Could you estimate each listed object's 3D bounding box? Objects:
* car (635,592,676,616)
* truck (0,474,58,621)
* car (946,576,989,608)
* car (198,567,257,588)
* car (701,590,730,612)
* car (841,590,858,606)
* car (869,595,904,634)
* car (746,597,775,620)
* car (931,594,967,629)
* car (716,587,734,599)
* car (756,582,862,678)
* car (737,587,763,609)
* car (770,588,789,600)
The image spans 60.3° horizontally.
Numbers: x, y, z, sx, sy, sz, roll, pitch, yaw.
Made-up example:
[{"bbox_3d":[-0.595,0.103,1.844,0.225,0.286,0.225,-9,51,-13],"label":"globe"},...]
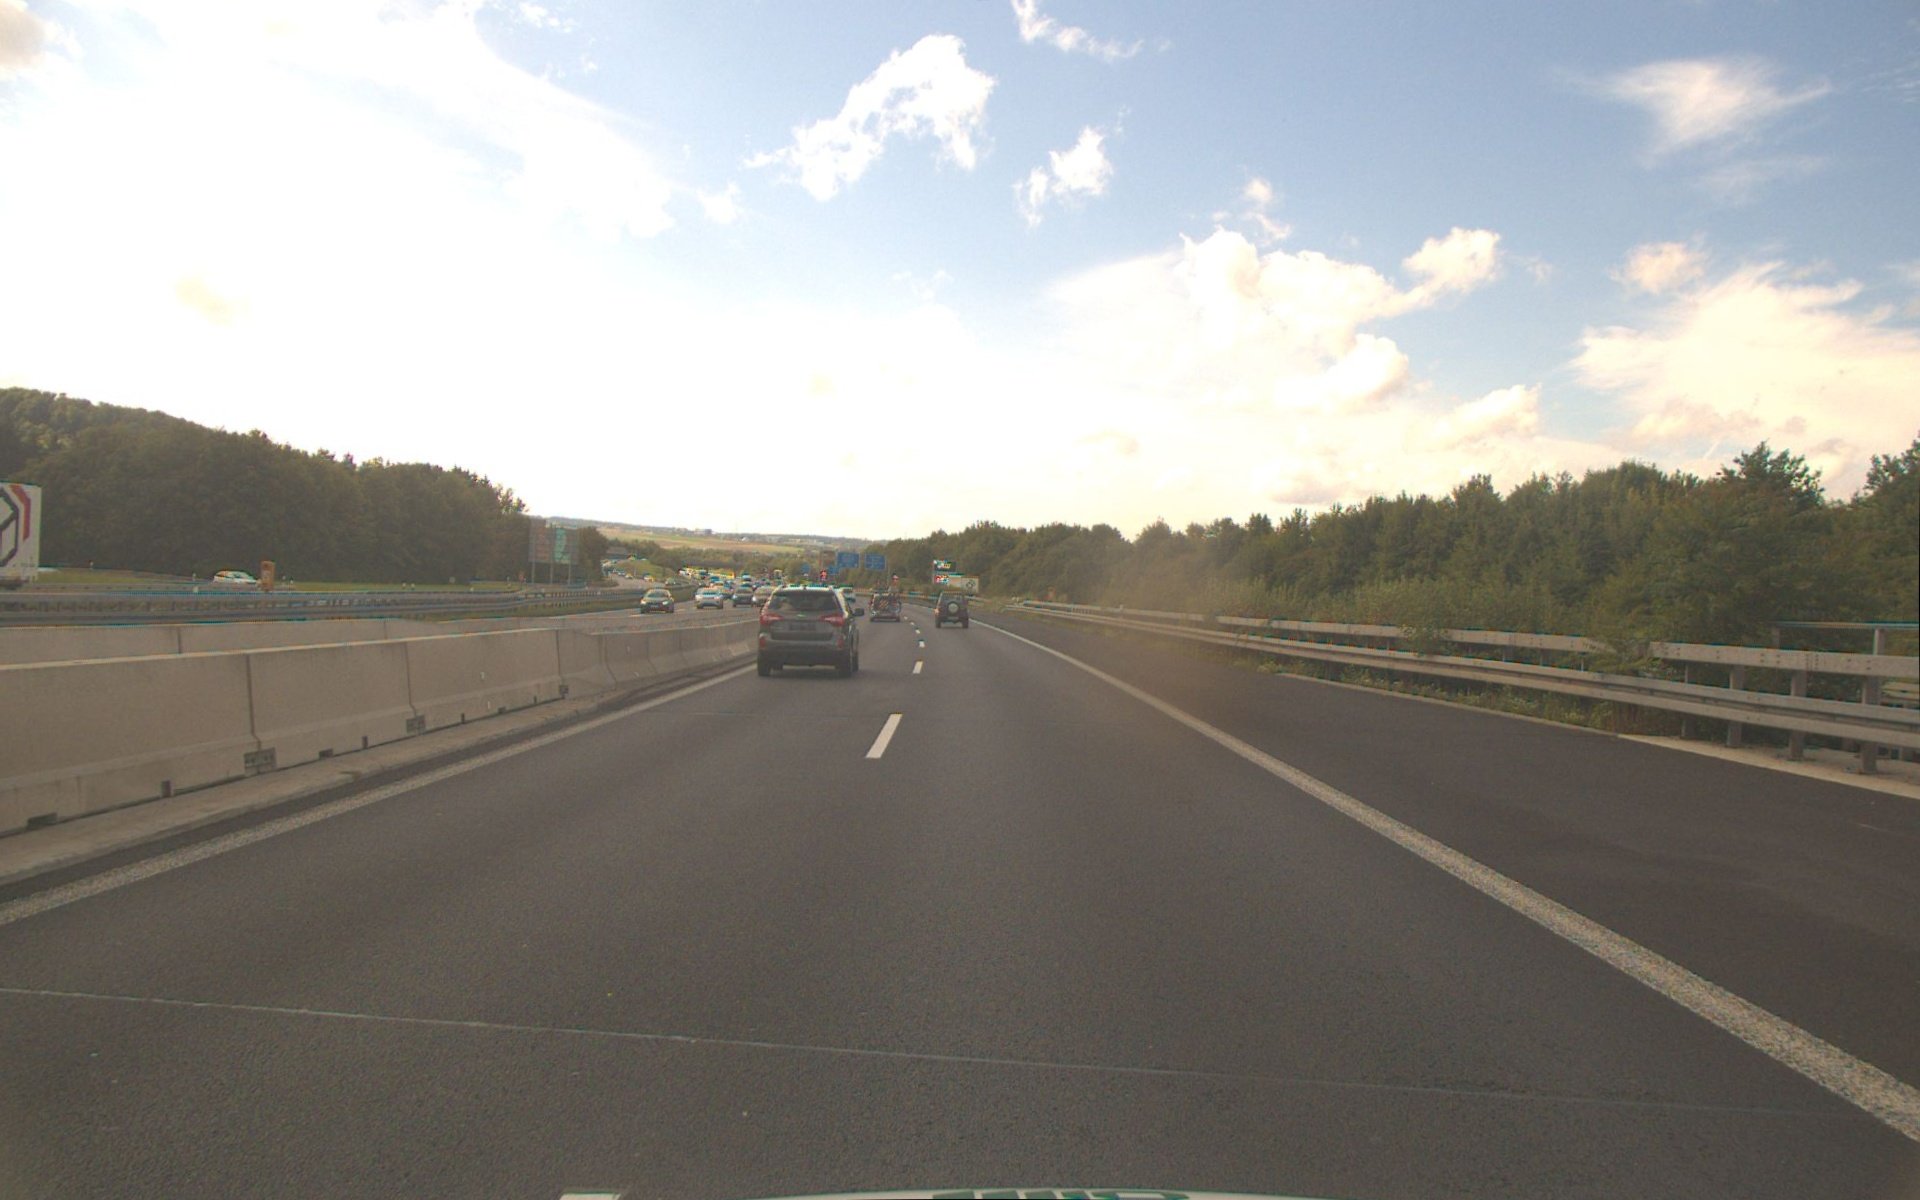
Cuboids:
[{"bbox_3d":[-19.595,0.243,106.648,1.954,1.427,4.810,1,0,-3],"label":"car"},{"bbox_3d":[-27.788,-1.523,43.333,2.844,4.038,10.458,1,-1,-3],"label":"truck"},{"bbox_3d":[1.014,-1.071,240.876,4.640,4.341,11.381,1,-1,-8],"label":"car"},{"bbox_3d":[-55.897,-1.725,126.185,4.525,1.456,1.784,1,0,31],"label":"car"},{"bbox_3d":[-19.030,0.070,128.979,1.849,1.638,4.962,1,0,-4],"label":"car"},{"bbox_3d":[-13.282,-0.243,198.939,1.955,1.713,3.995,1,-1,-5],"label":"car"},{"bbox_3d":[-4.274,0.813,96.400,1.990,2.189,3.998,1,0,-3],"label":"car"},{"bbox_3d":[-15.096,0.629,125.363,1.848,1.733,4.963,1,0,-3],"label":"car"},{"bbox_3d":[-0.565,0.546,81.095,1.555,1.625,4.094,1,0,-2],"label":"car"},{"bbox_3d":[-28.034,-0.843,197.398,1.831,1.361,4.226,1,0,-4],"label":"car"},{"bbox_3d":[-2.973,0.581,33.444,1.781,1.766,5.185,1,0,-2],"label":"car"},{"bbox_3d":[-17.980,-0.201,141.811,1.848,1.816,4.950,1,0,-3],"label":"car"},{"bbox_3d":[-21.278,-0.704,195.272,2.005,1.361,5.604,1,0,-4],"label":"car"}]
